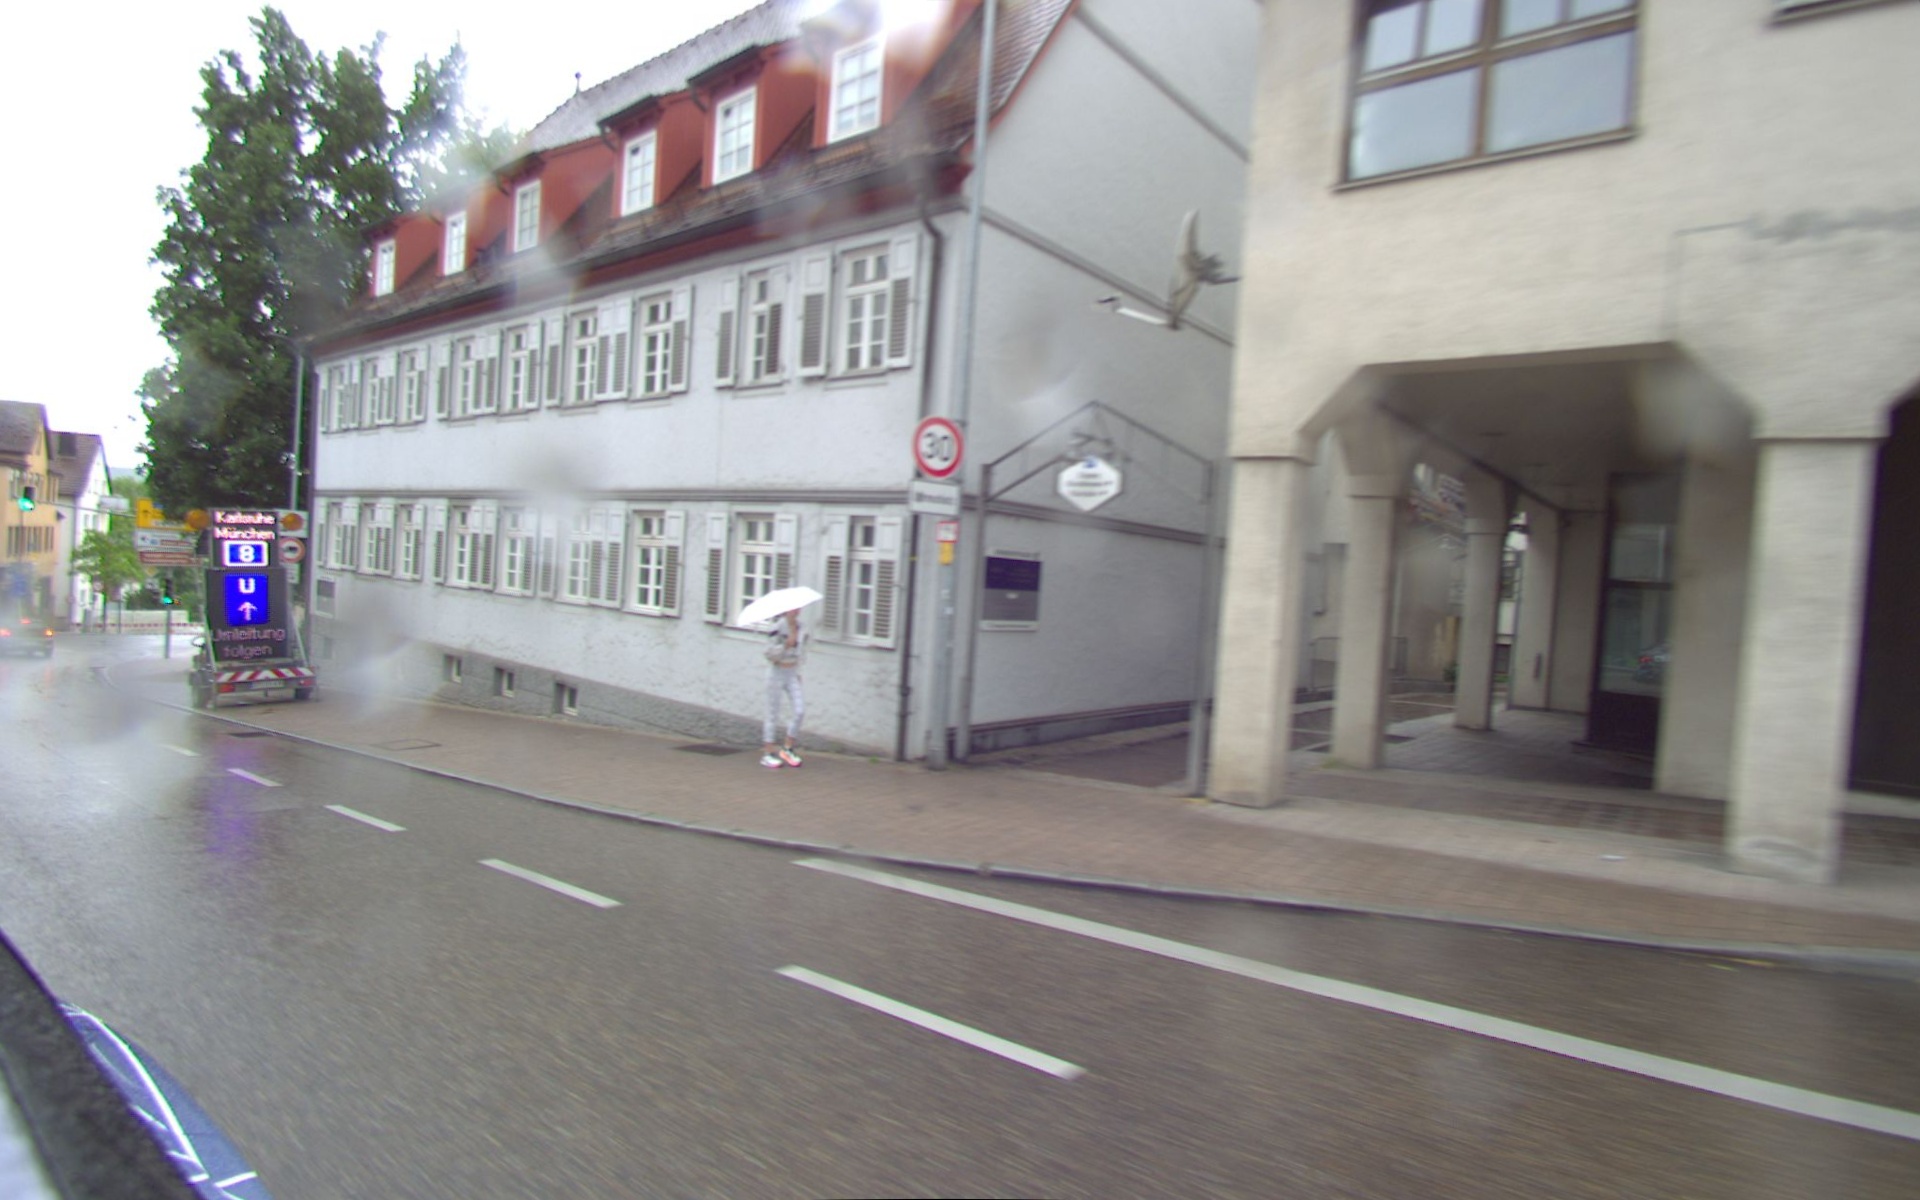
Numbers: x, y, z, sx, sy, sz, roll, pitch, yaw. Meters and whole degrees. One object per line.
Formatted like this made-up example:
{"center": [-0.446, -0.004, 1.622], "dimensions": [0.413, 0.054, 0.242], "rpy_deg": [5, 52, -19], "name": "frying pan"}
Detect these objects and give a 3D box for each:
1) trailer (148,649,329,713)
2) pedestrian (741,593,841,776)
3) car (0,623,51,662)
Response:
{"center": [-13.804, 1.469, 19.252], "dimensions": [4.477, 0.912, 1.972], "rpy_deg": [-1, -1, 43], "name": "trailer"}
{"center": [-1.713, 0.818, 10.241], "dimensions": [0.735, 1.753, 0.680], "rpy_deg": [-1, 0, 44], "name": "pedestrian"}
{"center": [-37.451, 1.683, 40.170], "dimensions": [3.584, 1.483, 1.591], "rpy_deg": [-2, -4, 42], "name": "car"}
